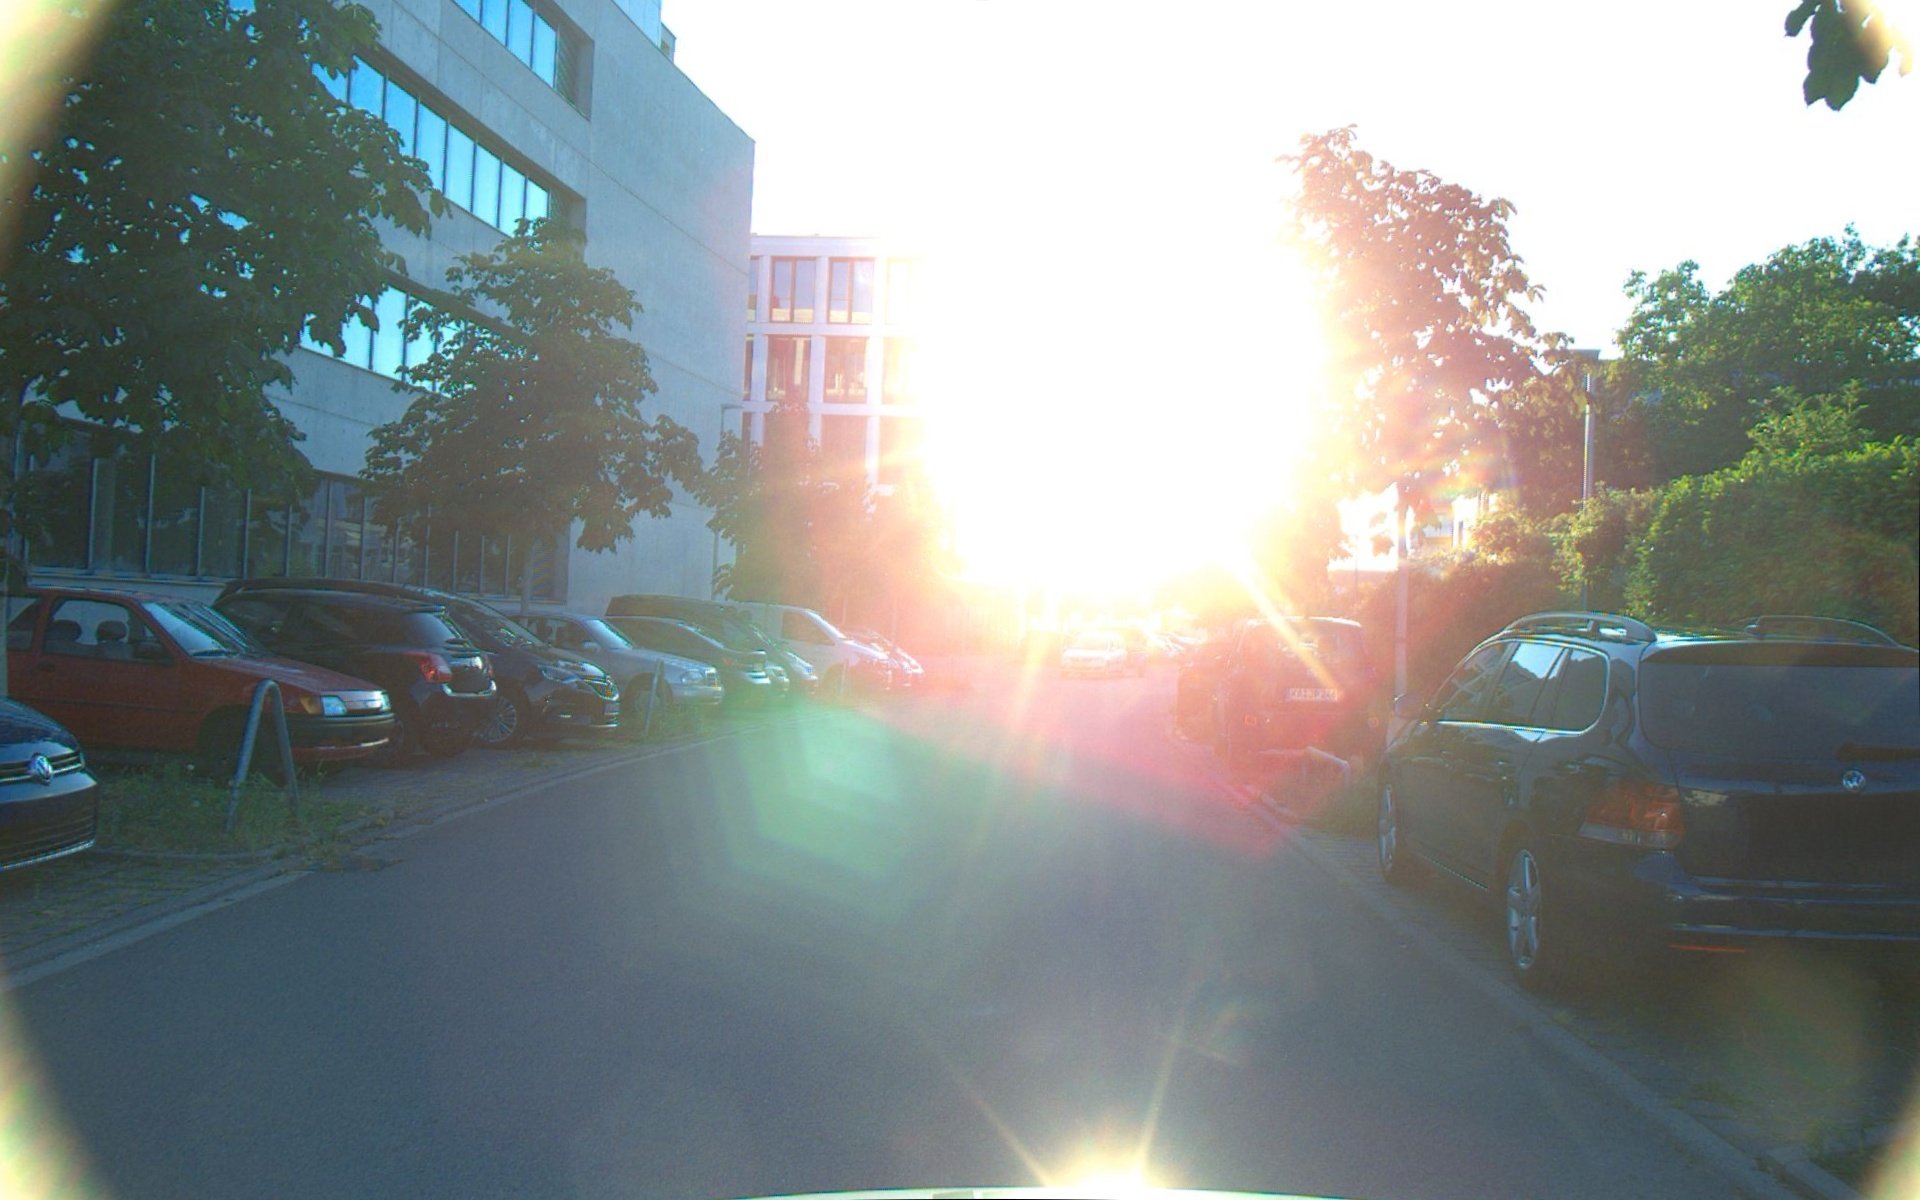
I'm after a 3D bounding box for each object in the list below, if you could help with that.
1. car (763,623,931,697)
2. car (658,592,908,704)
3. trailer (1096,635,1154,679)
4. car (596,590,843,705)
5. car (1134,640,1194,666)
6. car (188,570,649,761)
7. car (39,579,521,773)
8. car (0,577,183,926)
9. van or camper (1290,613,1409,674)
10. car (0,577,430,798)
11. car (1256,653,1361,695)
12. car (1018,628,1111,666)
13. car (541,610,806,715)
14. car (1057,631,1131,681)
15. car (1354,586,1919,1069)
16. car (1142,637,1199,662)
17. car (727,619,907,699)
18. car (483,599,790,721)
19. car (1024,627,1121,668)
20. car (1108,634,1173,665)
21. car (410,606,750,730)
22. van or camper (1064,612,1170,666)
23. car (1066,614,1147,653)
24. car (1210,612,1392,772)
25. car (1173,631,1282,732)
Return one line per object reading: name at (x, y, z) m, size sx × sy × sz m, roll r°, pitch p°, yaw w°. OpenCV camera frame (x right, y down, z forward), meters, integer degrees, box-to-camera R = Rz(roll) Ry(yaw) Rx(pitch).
car at (-2.769, 1.479, 41.058) m, size 3.804 × 1.514 × 1.652 m, roll 4°, pitch -1°, yaw 8°
car at (-3.797, 1.034, 35.916) m, size 4.969 × 1.980 × 1.890 m, roll 4°, pitch -2°, yaw 7°
trailer at (6.469, 2.179, 64.444) m, size 1.670 × 1.372 × 3.490 m, roll 5°, pitch 2°, yaw 14°
car at (-4.472, 0.895, 31.075) m, size 4.158 × 1.773 × 1.725 m, roll 4°, pitch -2°, yaw 6°
car at (12.404, 3.183, 100.467) m, size 3.484 × 1.505 × 1.459 m, roll 0°, pitch -1°, yaw 15°
car at (-5.701, 0.688, 17.784) m, size 4.219 × 1.726 × 1.897 m, roll 3°, pitch -1°, yaw 2°
car at (-6.110, 0.674, 15.132) m, size 3.625 × 1.483 × 1.679 m, roll 3°, pitch -1°, yaw 2°
car at (-6.143, 0.584, 8.058) m, size 3.791 × 1.538 × 1.760 m, roll 3°, pitch -1°, yaw 0°
van or camper at (18.832, 2.082, 80.154) m, size 5.490 × 2.839 × 2.431 m, roll 0°, pitch -1°, yaw 11°
car at (-6.290, 0.634, 12.971) m, size 3.626 × 1.483 × 1.711 m, roll 3°, pitch -1°, yaw 1°
car at (13.581, 2.872, 64.604) m, size 3.963 × 1.505 × 1.769 m, roll 0°, pitch 0°, yaw 10°
car at (4.892, 2.204, 77.359) m, size 3.965 × 1.505 × 1.768 m, roll 3°, pitch -1°, yaw 15°
car at (-4.870, 1.067, 28.399) m, size 4.057 × 1.428 × 1.725 m, roll 4°, pitch -2°, yaw 6°
car at (4.896, 2.051, 59.983) m, size 1.911 × 1.716 × 4.725 m, roll 0°, pitch -3°, yaw 14°
car at (3.158, 0.782, 7.778) m, size 1.675 × 1.577 × 4.549 m, roll 2°, pitch 0°, yaw 2°
car at (13.570, 3.192, 106.593) m, size 3.484 × 1.505 × 1.459 m, roll 0°, pitch -1°, yaw 15°
car at (-3.359, 1.389, 39.225) m, size 3.903 × 1.549 × 1.606 m, roll 4°, pitch -2°, yaw 6°
car at (-5.050, 0.938, 26.091) m, size 4.304 × 1.525 × 1.764 m, roll 4°, pitch -2°, yaw 10°
car at (4.960, 2.083, 72.819) m, size 3.964 × 1.504 × 1.769 m, roll 3°, pitch 0°, yaw 12°
car at (10.243, 2.792, 93.629) m, size 3.484 × 1.681 × 1.459 m, roll 0°, pitch -1°, yaw 15°
car at (-5.356, 0.935, 23.606) m, size 4.340 × 1.489 × 1.764 m, roll 2°, pitch 0°, yaw 6°
van or camper at (8.473, 2.085, 89.020) m, size 5.337 × 2.527 × 1.776 m, roll 3°, pitch 0°, yaw 15°
car at (7.478, 1.678, 84.164) m, size 3.963 × 1.942 × 1.737 m, roll 0°, pitch -1°, yaw 11°
car at (3.611, 0.950, 17.987) m, size 1.544 × 1.536 × 3.498 m, roll 1°, pitch -2°, yaw 5°
car at (4.440, 1.325, 27.834) m, size 1.657 × 1.536 × 4.195 m, roll 1°, pitch -2°, yaw 8°
